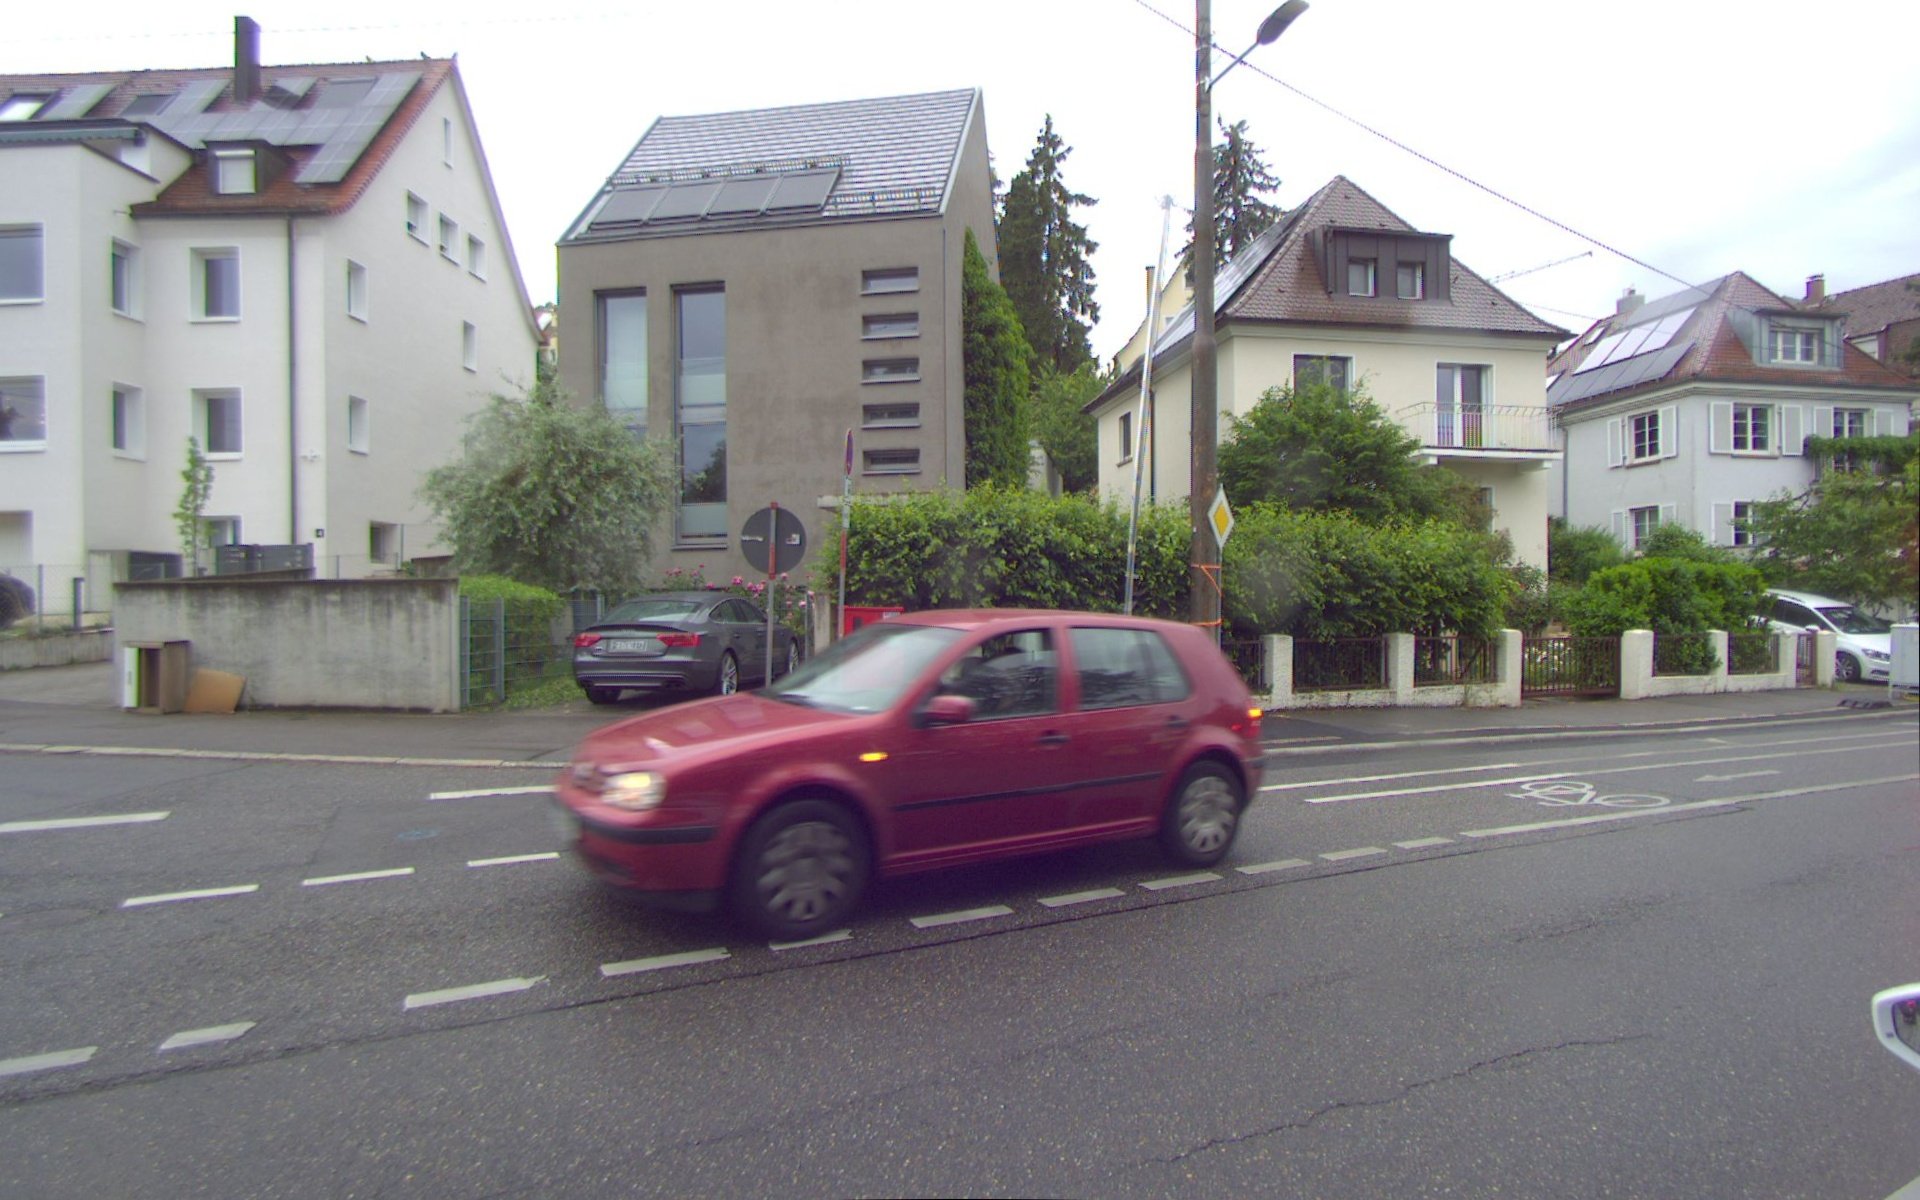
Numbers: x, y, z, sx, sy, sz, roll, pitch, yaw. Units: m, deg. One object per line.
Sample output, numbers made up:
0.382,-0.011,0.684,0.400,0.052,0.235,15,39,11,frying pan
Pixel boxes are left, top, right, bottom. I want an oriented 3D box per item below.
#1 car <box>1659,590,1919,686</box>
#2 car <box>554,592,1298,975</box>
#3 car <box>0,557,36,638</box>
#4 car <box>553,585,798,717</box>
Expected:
19.585,0.814,23.913,1.870,2.033,4.628,1,0,-18,car
-0.096,0.730,5.664,3.842,1.483,1.754,1,0,-32,car
-16.742,0.043,15.170,1.576,1.298,4.008,2,4,6,car
-3.619,0.558,13.576,1.740,1.506,4.002,0,1,7,car
